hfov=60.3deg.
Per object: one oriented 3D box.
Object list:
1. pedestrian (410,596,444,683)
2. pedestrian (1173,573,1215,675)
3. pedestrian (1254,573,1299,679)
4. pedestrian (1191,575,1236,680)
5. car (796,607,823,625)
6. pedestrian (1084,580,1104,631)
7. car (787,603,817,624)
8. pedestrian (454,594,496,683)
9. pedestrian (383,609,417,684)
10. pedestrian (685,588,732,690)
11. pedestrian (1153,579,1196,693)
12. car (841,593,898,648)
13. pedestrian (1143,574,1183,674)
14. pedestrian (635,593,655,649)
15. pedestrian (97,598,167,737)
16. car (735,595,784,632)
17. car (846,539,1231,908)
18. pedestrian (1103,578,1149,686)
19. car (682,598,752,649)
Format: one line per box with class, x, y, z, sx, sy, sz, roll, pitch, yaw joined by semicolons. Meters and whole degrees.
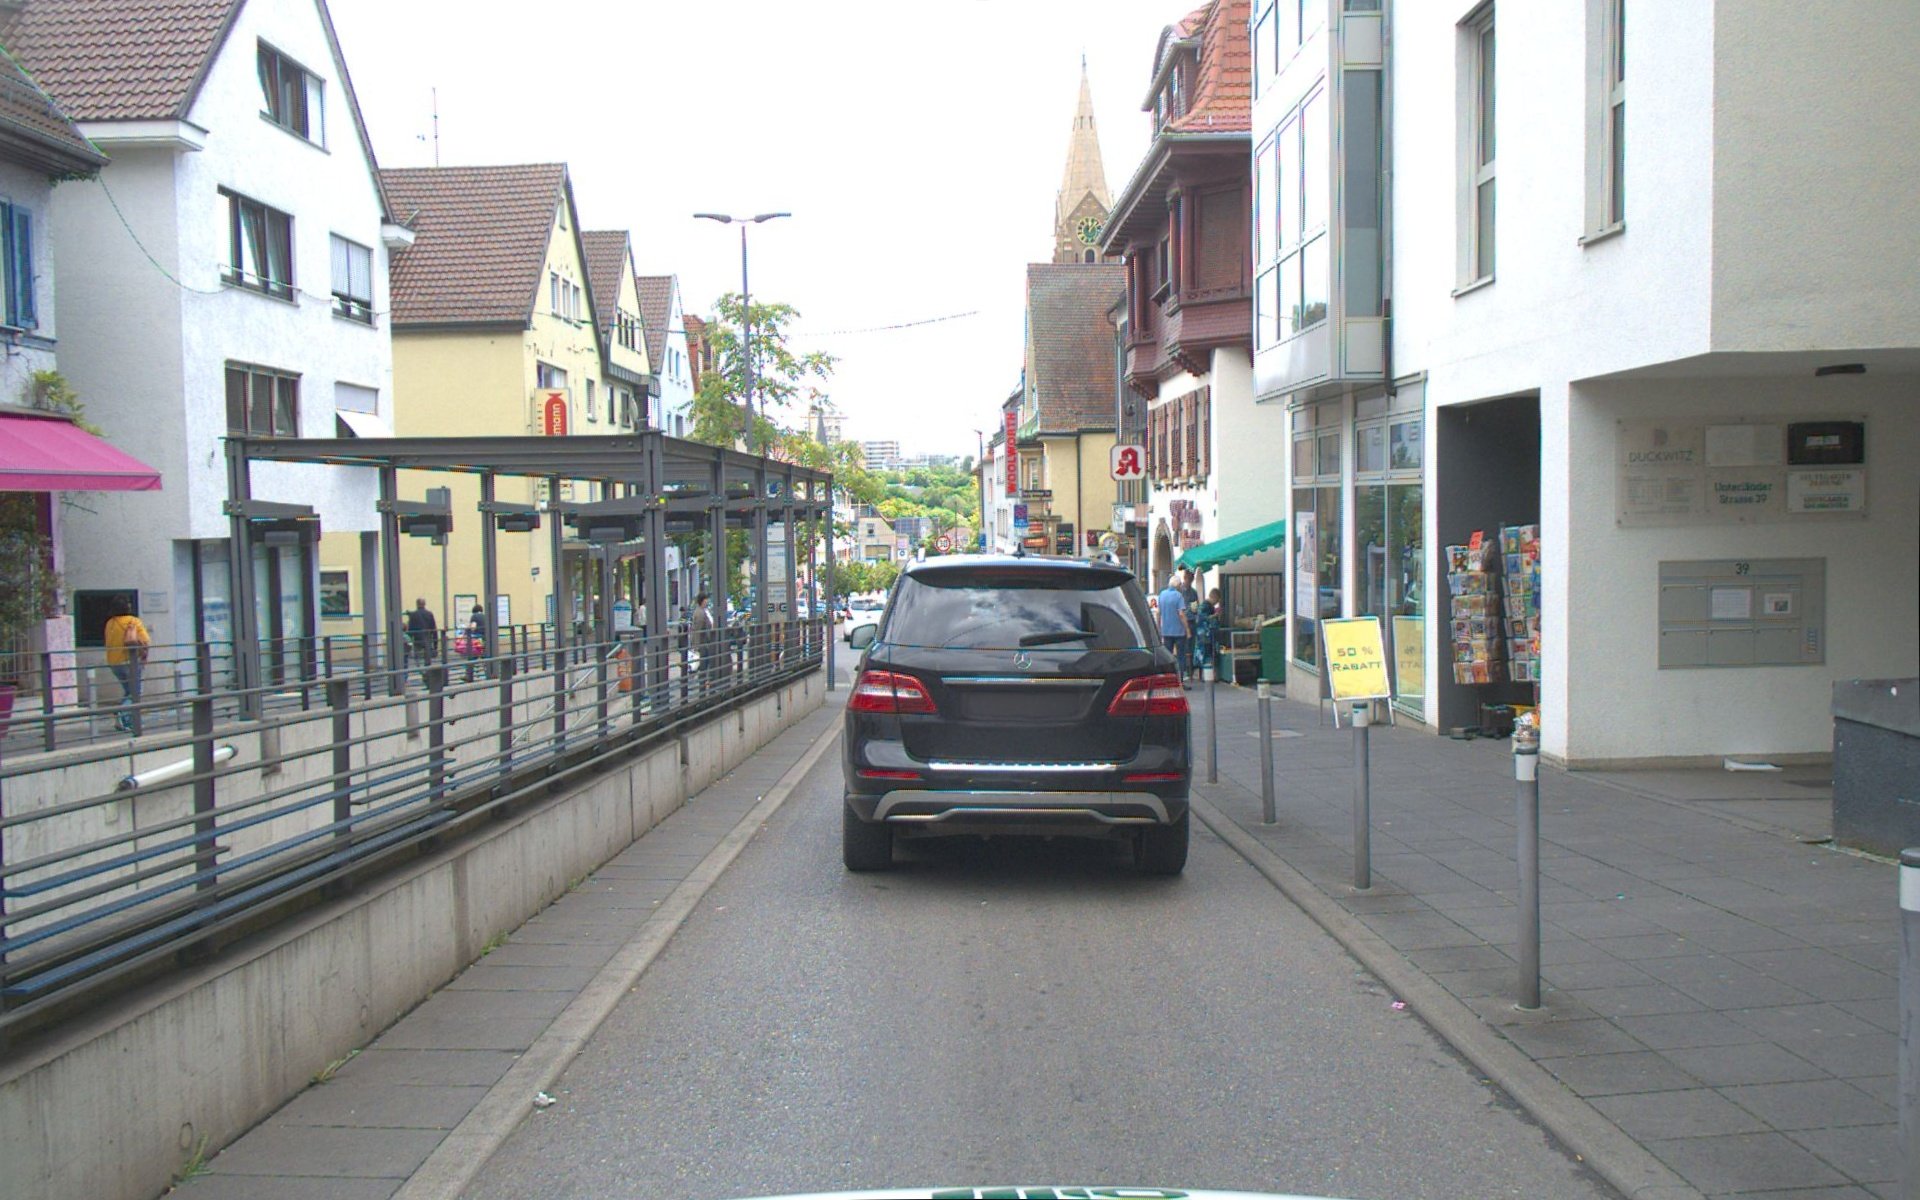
pedestrian;-10.654;0.782;33.067;0.601;1.718;0.561;1;0;-15
pedestrian;3.996;0.409;28.293;0.562;1.718;0.565;1;0;-7
pedestrian;5.266;0.425;27.506;0.562;1.718;0.565;-1;0;-7
pedestrian;4.192;0.449;27.350;0.562;1.718;0.565;-1;0;-7
car;-9.424;0.992;103.783;1.360;1.089;3.112;-1;0;0
pedestrian;4.515;0.182;55.762;0.594;1.718;0.724;-1;0;-1
car;-8.830;0.765;92.348;1.360;1.089;3.112;-1;0;0
pedestrian;-9.585;0.753;32.684;0.613;1.718;0.679;1;0;-1
pedestrian;-10.959;0.908;32.387;0.447;1.446;0.533;1;0;2
pedestrian;-4.317;0.664;28.393;0.751;1.718;0.726;1;0;-7
pedestrian;3.378;0.559;26.101;0.531;1.756;0.527;-1;0;-7
car;-3.026;0.665;55.882;1.734;1.743;3.999;1;0;-1
pedestrian;3.787;0.439;30.847;0.626;1.841;0.684;1;0;-2
pedestrian;-9.829;0.648;51.554;0.502;1.718;0.541;1;0;-1
pedestrian;-10.447;0.840;20.886;0.566;1.718;0.576;1;0;-1
car;-8.430;0.556;69.704;1.626;1.516;3.747;1;0;0
car;0.309;0.602;10.083;1.862;1.777;3.998;1;0;-2
pedestrian;2.665;0.505;26.614;0.609;1.718;0.565;1;0;-7
car;-7.685;0.722;52.579;1.655;1.516;3.978;1;0;0
